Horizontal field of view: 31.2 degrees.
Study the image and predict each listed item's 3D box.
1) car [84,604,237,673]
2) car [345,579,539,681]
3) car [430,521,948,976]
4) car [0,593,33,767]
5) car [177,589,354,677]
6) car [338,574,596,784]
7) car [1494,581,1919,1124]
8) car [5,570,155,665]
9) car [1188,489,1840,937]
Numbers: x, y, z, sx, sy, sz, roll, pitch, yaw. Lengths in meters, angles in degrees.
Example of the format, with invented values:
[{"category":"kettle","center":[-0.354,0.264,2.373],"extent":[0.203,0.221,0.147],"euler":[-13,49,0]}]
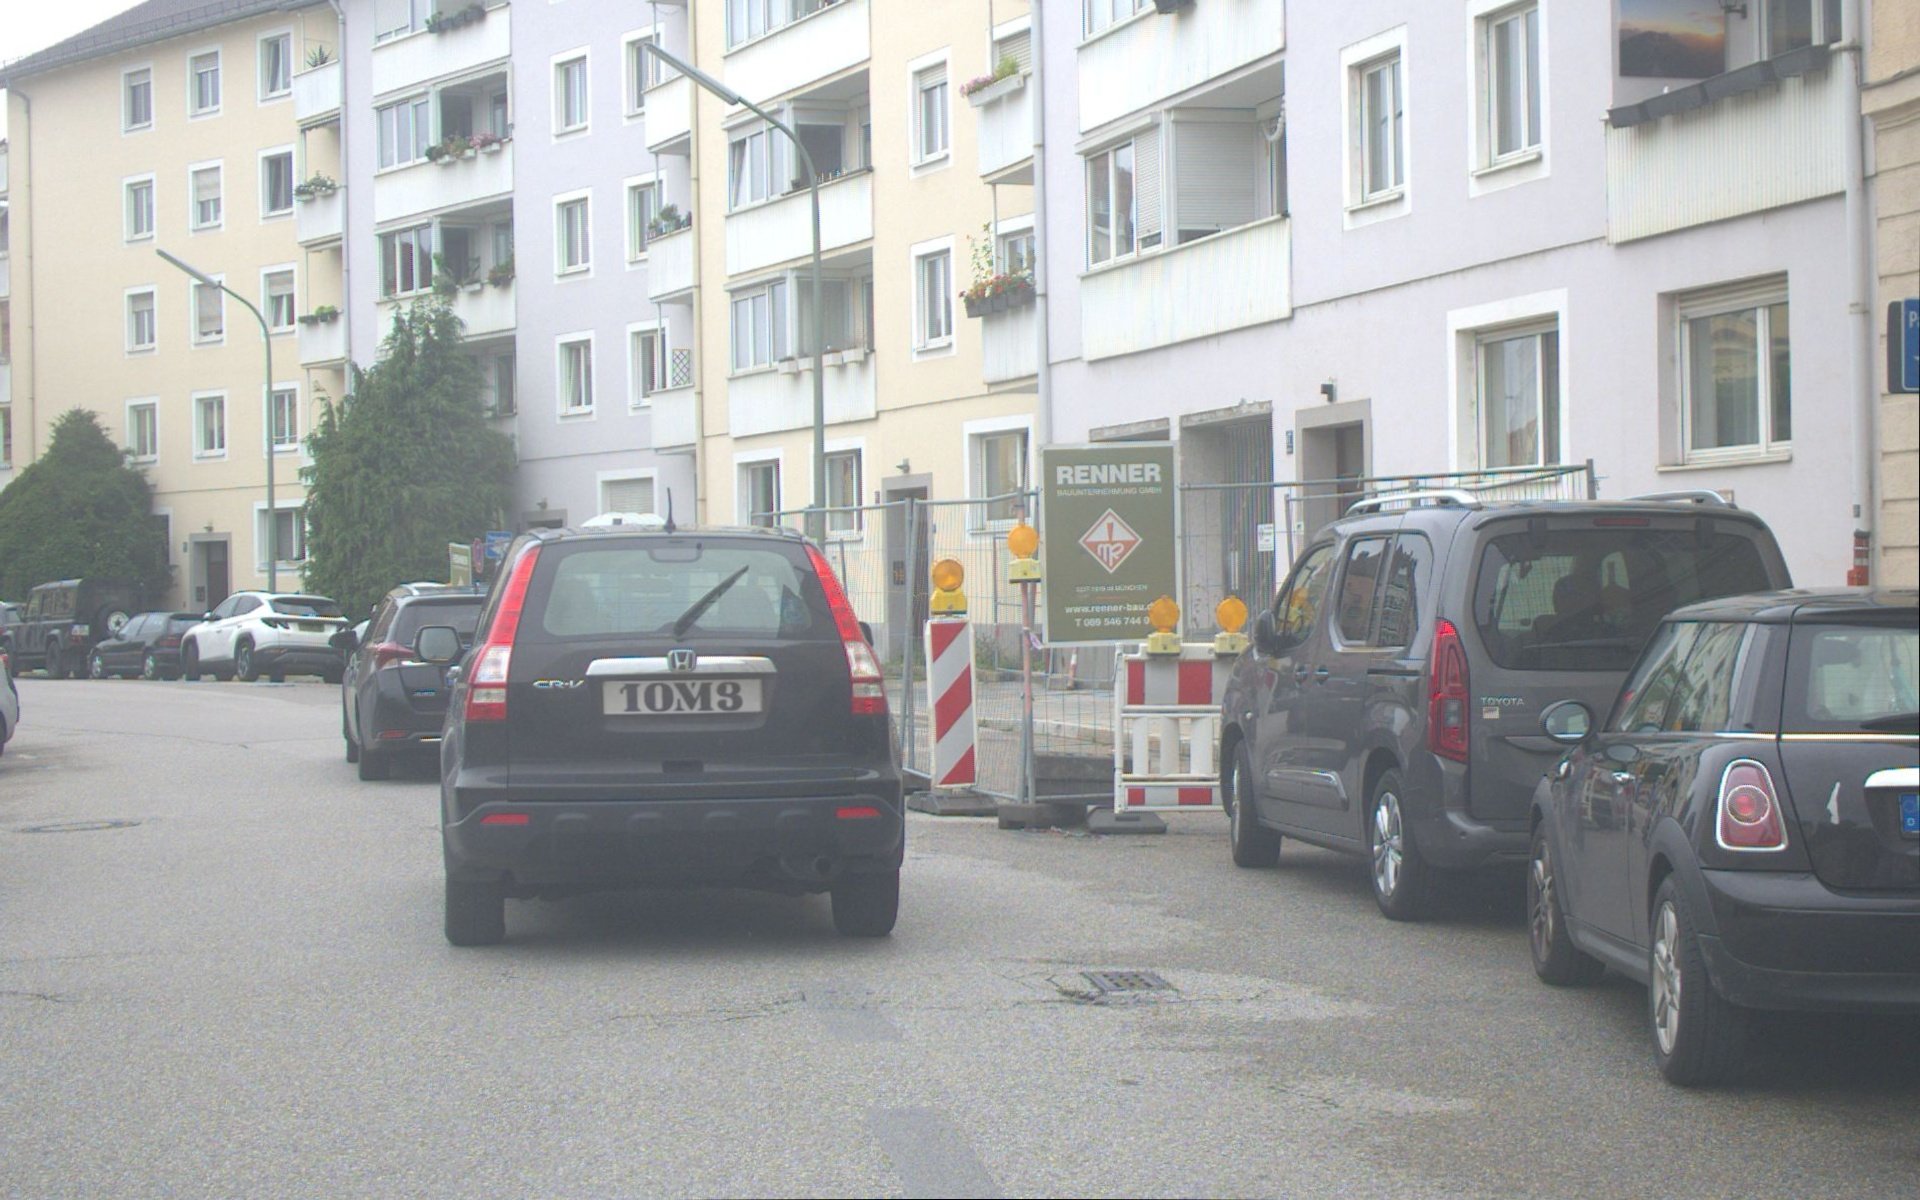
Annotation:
[{"category":"car","center":[-15.303,0.710,65.685],"extent":[1.697,1.232,3.601],"euler":[0,1,-34]},{"category":"car","center":[-7.977,0.432,52.689],"extent":[1.724,1.478,4.000],"euler":[0,1,-28]},{"category":"car","center":[-1.282,0.529,14.625],"extent":[1.890,1.642,3.992],"euler":[-1,0,-9]},{"category":"car","center":[-10.013,0.836,28.674],"extent":[1.683,1.476,4.077],"euler":[-5,0,40]},{"category":"car","center":[-12.437,0.566,61.428],"extent":[1.724,1.478,4.000],"euler":[0,1,-34]},{"category":"car","center":[-3.884,0.556,26.623],"extent":[1.678,1.476,4.087],"euler":[-1,0,-12]},{"category":"car","center":[2.847,0.670,11.093],"extent":[1.708,1.442,3.829],"euler":[1,0,1]},{"category":"car","center":[-17.819,0.323,69.502],"extent":[1.724,1.871,4.000],"euler":[0,1,-34]},{"category":"car","center":[2.397,0.448,16.046],"extent":[1.777,1.800,4.277],"euler":[1,0,-8]}]
